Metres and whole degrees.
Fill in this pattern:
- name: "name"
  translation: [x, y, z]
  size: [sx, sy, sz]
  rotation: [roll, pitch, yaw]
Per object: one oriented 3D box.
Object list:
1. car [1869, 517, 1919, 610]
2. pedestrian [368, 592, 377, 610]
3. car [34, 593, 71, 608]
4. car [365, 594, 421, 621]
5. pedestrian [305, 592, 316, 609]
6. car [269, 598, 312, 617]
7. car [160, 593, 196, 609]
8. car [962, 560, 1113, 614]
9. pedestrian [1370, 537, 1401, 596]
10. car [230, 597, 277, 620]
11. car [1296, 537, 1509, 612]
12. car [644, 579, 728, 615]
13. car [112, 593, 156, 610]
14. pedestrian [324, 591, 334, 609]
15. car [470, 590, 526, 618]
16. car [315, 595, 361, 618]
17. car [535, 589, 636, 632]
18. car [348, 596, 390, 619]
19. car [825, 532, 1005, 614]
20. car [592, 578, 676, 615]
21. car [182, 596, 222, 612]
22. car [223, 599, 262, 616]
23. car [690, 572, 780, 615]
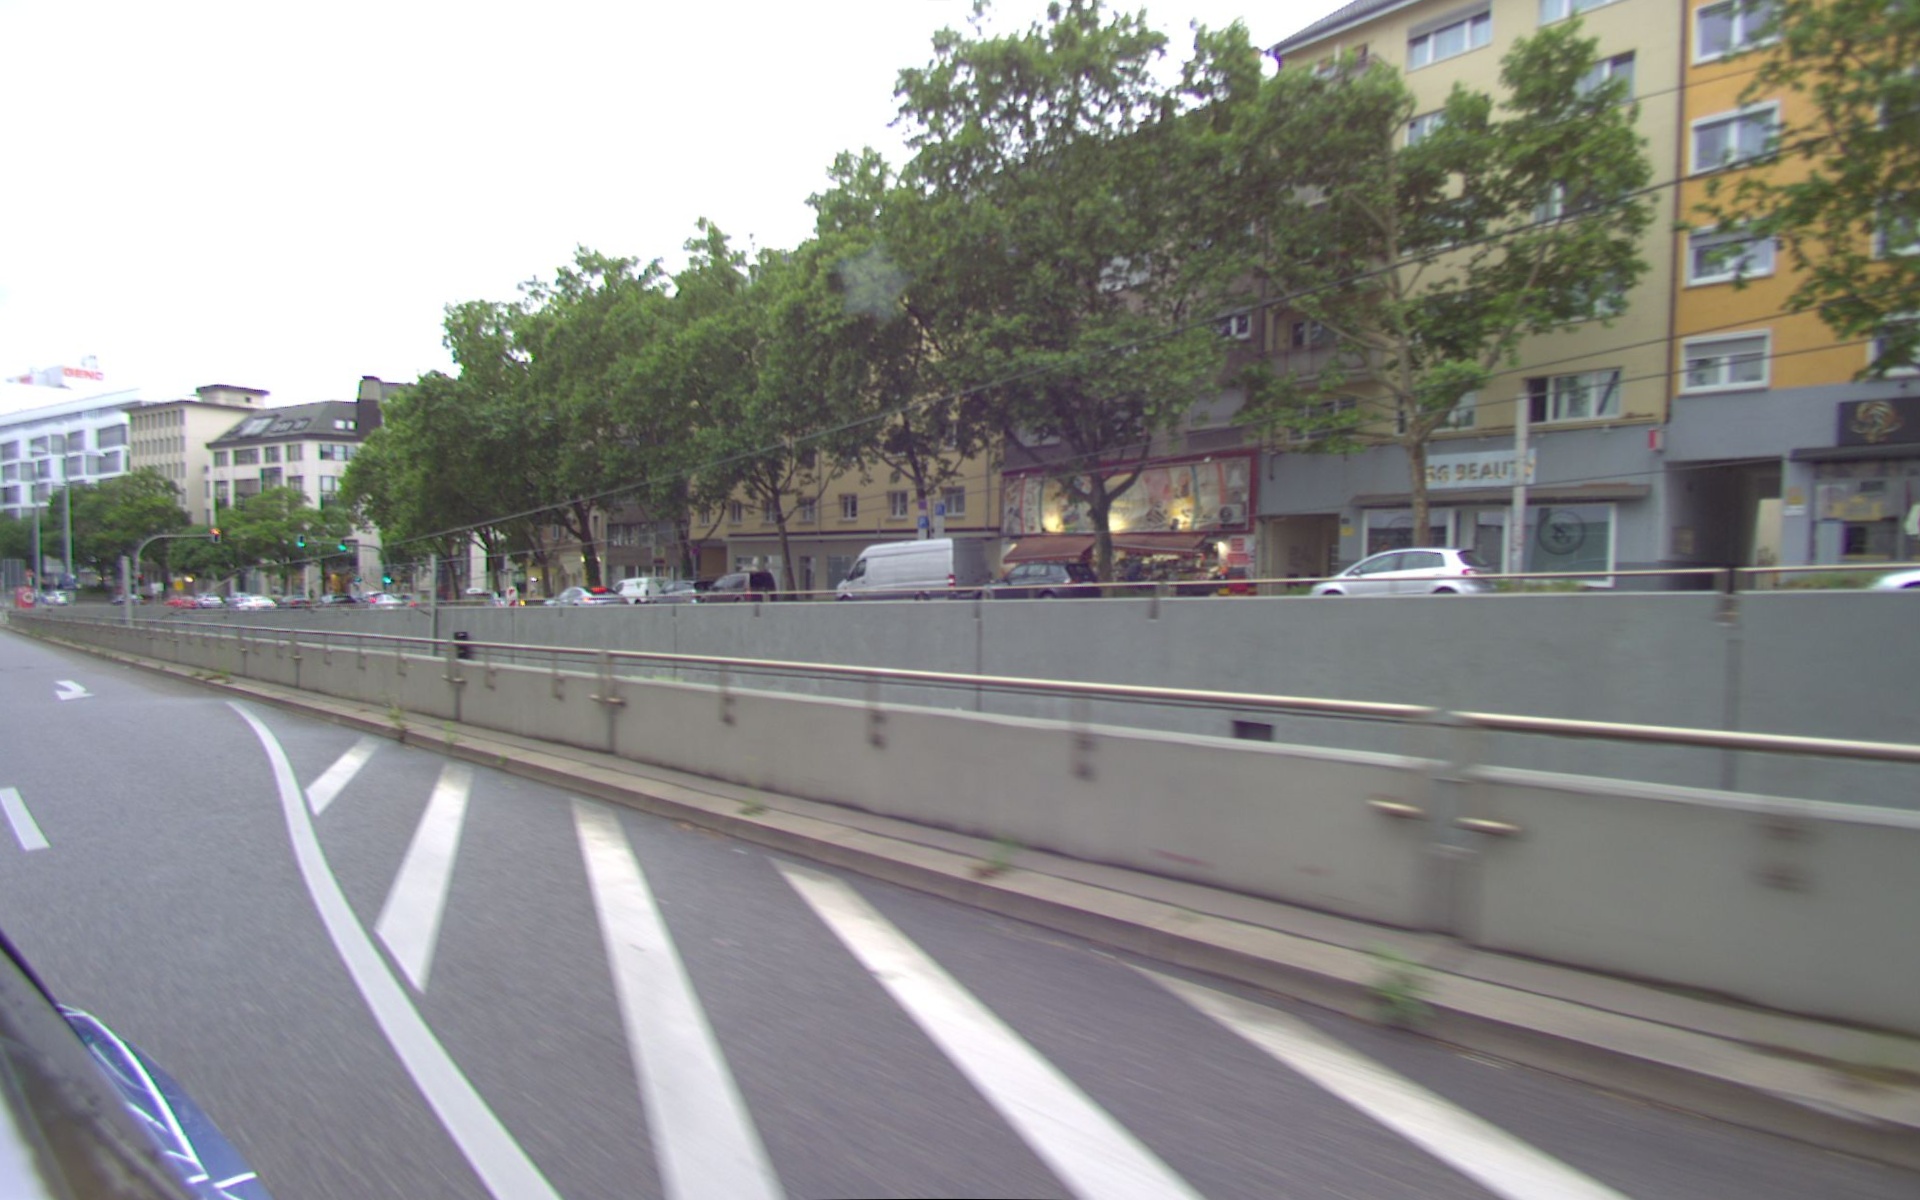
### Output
- name: "car"
  translation: [17.313, -0.658, 16.032]
  size: [1.773, 1.521, 4.211]
  rotation: [-4, 2, -44]
- name: "pedestrian"
  translation: [-59.954, 0.131, 103.232]
  size: [0.581, 1.822, 0.675]
  rotation: [-3, 3, -40]
- name: "car"
  translation: [-98.982, 0.065, 110.375]
  size: [3.983, 1.573, 1.782]
  rotation: [0, 2, 29]
- name: "car"
  translation: [-34.884, 0.493, 62.218]
  size: [1.825, 1.521, 4.825]
  rotation: [-4, 2, -44]
- name: "pedestrian"
  translation: [-69.822, 0.052, 108.770]
  size: [0.615, 1.797, 0.825]
  rotation: [0, 3, 36]
- name: "car"
  translation: [-57.636, 0.663, 87.133]
  size: [3.993, 1.521, 1.778]
  rotation: [0, 3, 37]
- name: "car"
  translation: [-71.737, 0.063, 92.805]
  size: [3.872, 1.411, 1.571]
  rotation: [0, 2, 36]
- name: "car"
  translation: [2.365, -0.384, 31.770]
  size: [1.774, 1.521, 4.675]
  rotation: [-4, 2, -44]
- name: "pedestrian"
  translation: [12.947, -1.014, 30.802]
  size: [0.516, 1.761, 0.623]
  rotation: [-6, 4, -37]
- name: "car"
  translation: [-57.879, 0.680, 82.905]
  size: [4.723, 1.783, 1.778]
  rotation: [0, 2, 37]
- name: "car"
  translation: [10.327, -0.574, 23.814]
  size: [1.773, 1.582, 4.211]
  rotation: [-4, 2, -44]
- name: "car"
  translation: [-13.189, -0.128, 48.529]
  size: [4.475, 1.595, 1.856]
  rotation: [-1, 2, 45]
- name: "car"
  translation: [-81.728, 0.129, 100.122]
  size: [4.817, 1.569, 1.782]
  rotation: [0, 2, 31]
- name: "pedestrian"
  translation: [-66.515, 0.014, 106.689]
  size: [0.525, 1.797, 0.597]
  rotation: [0, 3, 36]
- name: "car"
  translation: [-27.072, 0.248, 59.212]
  size: [1.824, 1.521, 4.021]
  rotation: [-4, 2, -42]
- name: "car"
  translation: [-43.727, 0.449, 71.117]
  size: [4.346, 1.521, 1.774]
  rotation: [0, 2, 44]
- name: "car"
  translation: [-15.117, 0.416, 40.694]
  size: [2.003, 1.521, 4.887]
  rotation: [-4, 2, -44]
- name: "car"
  translation: [-44.010, 0.600, 75.339]
  size: [1.774, 1.591, 4.019]
  rotation: [-4, 2, -44]
- name: "car"
  translation: [-1.774, -0.911, 36.564]
  size: [2.424, 2.682, 6.936]
  rotation: [-4, 2, -44]
- name: "car"
  translation: [-16.930, -0.169, 52.418]
  size: [4.899, 1.777, 1.857]
  rotation: [-1, 2, 42]
- name: "car"
  translation: [-73.320, 0.385, 97.845]
  size: [3.987, 1.521, 1.781]
  rotation: [0, 2, 32]
- name: "car"
  translation: [-71.852, 0.736, 101.345]
  size: [3.929, 1.521, 1.781]
  rotation: [0, 3, 32]
- name: "car"
  translation: [-10.011, -0.273, 44.911]
  size: [4.206, 1.742, 1.775]
  rotation: [-1, 2, 43]
